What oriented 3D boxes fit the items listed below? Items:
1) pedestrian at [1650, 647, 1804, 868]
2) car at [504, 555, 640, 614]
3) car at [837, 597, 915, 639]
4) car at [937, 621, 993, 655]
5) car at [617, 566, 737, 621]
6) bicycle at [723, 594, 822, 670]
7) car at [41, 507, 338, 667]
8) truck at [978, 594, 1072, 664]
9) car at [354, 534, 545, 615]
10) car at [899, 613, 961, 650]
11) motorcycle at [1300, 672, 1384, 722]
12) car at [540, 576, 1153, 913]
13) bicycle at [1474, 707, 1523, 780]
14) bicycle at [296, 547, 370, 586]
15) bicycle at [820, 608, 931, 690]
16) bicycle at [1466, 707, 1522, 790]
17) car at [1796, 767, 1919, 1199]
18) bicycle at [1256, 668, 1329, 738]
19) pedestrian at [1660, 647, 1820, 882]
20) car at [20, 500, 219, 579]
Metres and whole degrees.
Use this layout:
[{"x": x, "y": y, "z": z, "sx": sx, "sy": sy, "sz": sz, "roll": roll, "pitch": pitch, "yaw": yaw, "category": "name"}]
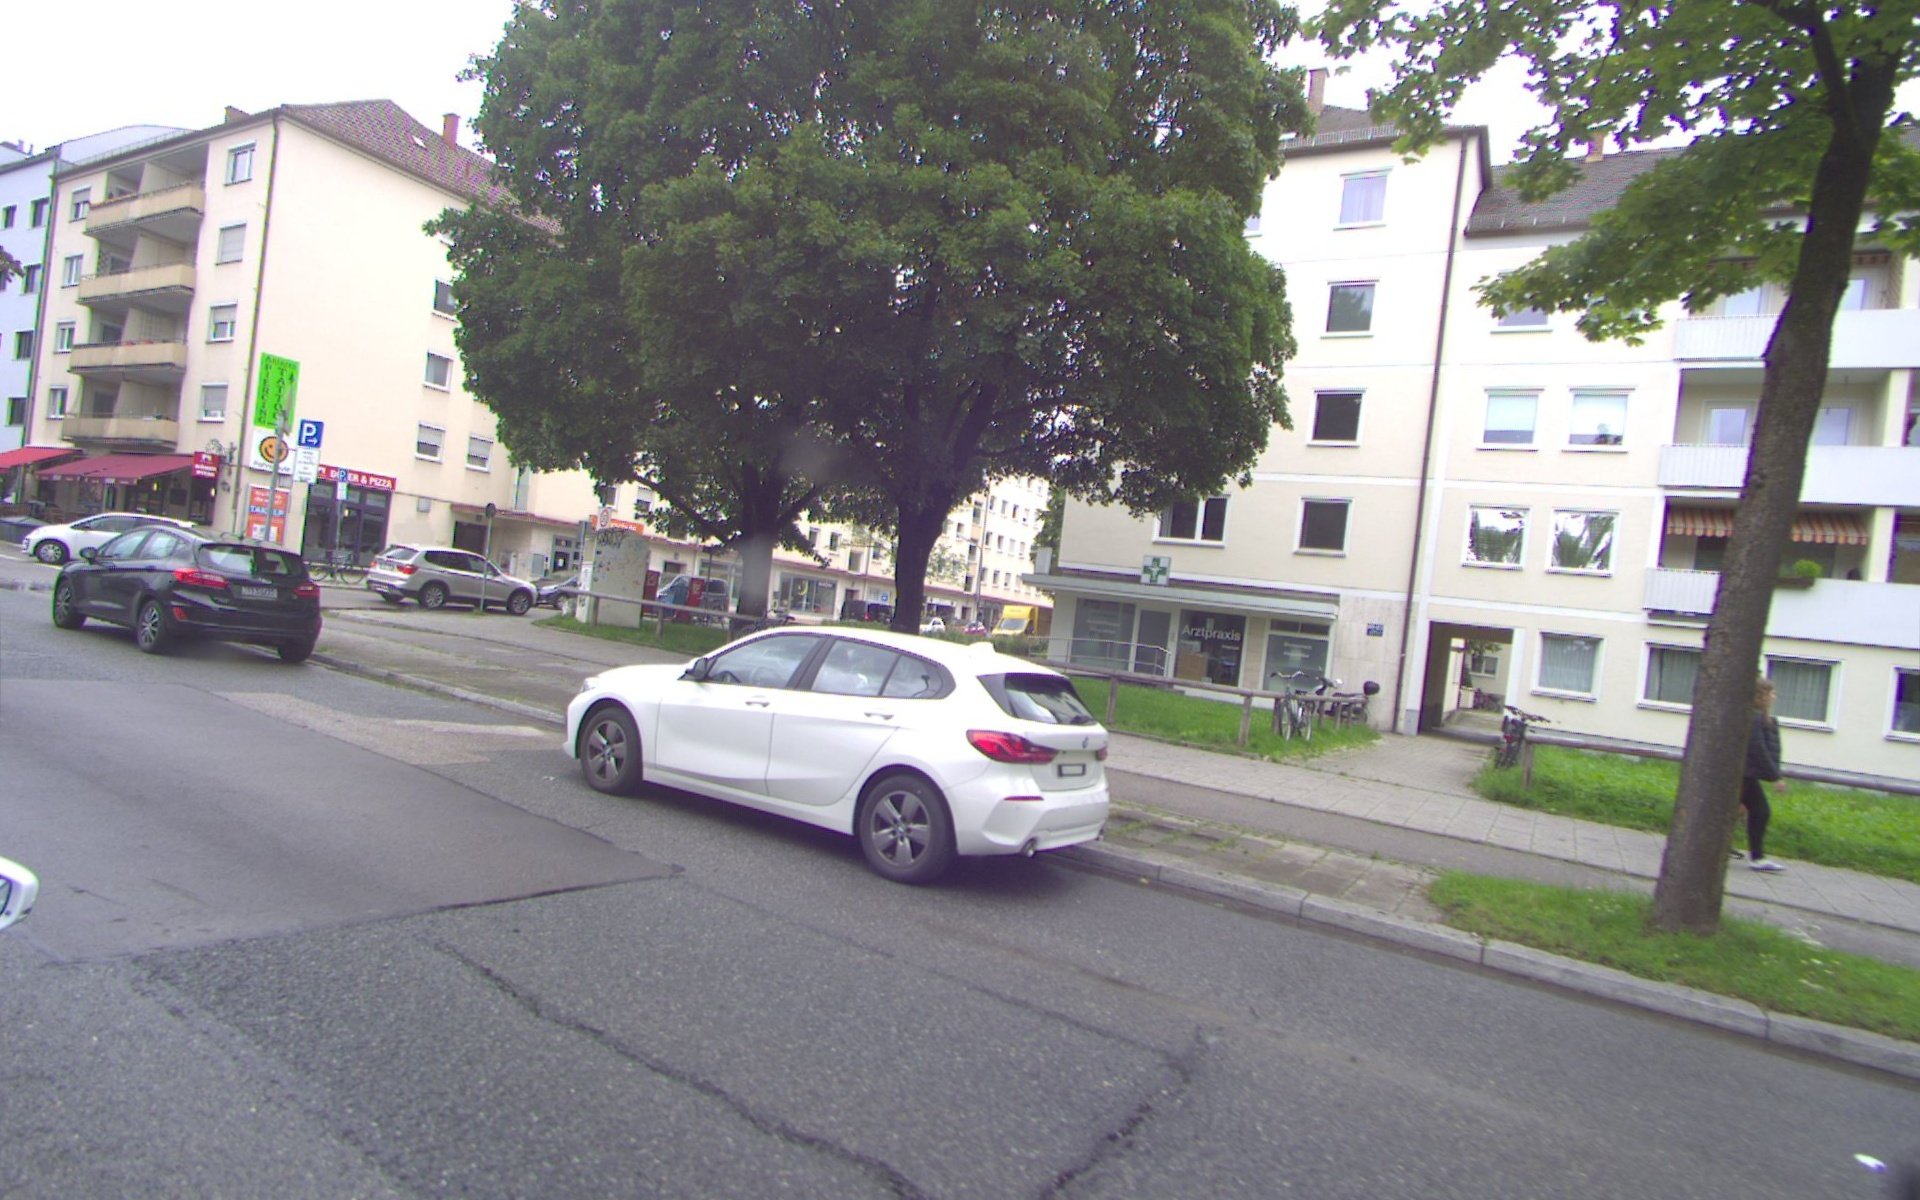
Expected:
[{"x": 7.319, "y": 1.464, "z": 9.661, "sx": 0.904, "sy": 1.913, "sz": 0.730, "roll": 7, "pitch": 1, "yaw": 30, "category": "pedestrian"}, {"x": -14.164, "y": -0.520, "z": 36.971, "sx": 1.839, "sy": 1.681, "sz": 4.401, "roll": 7, "pitch": 0, "yaw": 28, "category": "car"}, {"x": -4.542, "y": 1.010, "z": 55.243, "sx": 1.839, "sy": 1.679, "sz": 4.750, "roll": 7, "pitch": -2, "yaw": 27, "category": "car"}, {"x": 0.355, "y": 2.450, "z": 64.870, "sx": 1.839, "sy": 1.679, "sz": 4.088, "roll": 7, "pitch": -2, "yaw": 27, "category": "car"}, {"x": -11.702, "y": -0.233, "z": 41.898, "sx": 1.840, "sy": 1.795, "sz": 4.742, "roll": 7, "pitch": 0, "yaw": 30, "category": "car"}, {"x": -3.330, "y": 0.555, "z": 17.801, "sx": 1.823, "sy": 1.118, "sz": 0.389, "roll": 7, "pitch": -1, "yaw": 32, "category": "bicycle"}, {"x": -9.649, "y": -0.184, "z": 12.553, "sx": 3.613, "sy": 1.482, "sz": 1.621, "roll": 7, "pitch": -2, "yaw": 31, "category": "car"}, {"x": 3.875, "y": 1.749, "z": 57.696, "sx": 2.318, "sy": 3.282, "sz": 7.425, "roll": 7, "pitch": -2, "yaw": 27, "category": "truck"}, {"x": -14.132, "y": -0.658, "z": 28.123, "sx": 1.839, "sy": 1.681, "sz": 4.402, "roll": 9, "pitch": 1, "yaw": 27, "category": "car"}, {"x": -1.763, "y": 1.936, "z": 60.624, "sx": 1.839, "sy": 1.679, "sz": 4.088, "roll": 7, "pitch": -2, "yaw": 27, "category": "car"}, {"x": 9.982, "y": 2.537, "z": 26.335, "sx": 1.875, "sy": 1.035, "sz": 0.605, "roll": 7, "pitch": -1, "yaw": 32, "category": "motorcycle"}, {"x": -0.913, "y": 0.866, "z": 7.276, "sx": 4.068, "sy": 1.481, "sz": 1.687, "roll": 7, "pitch": -3, "yaw": 31, "category": "car"}, {"x": 8.228, "y": 2.164, "z": 15.348, "sx": 0.426, "sy": 0.985, "sz": 1.880, "roll": 7, "pitch": -2, "yaw": 33, "category": "bicycle"}, {"x": -19.740, "y": -1.040, "z": 31.710, "sx": 0.548, "sy": 0.968, "sz": 1.851, "roll": 7, "pitch": -2, "yaw": 30, "category": "bicycle"}, {"x": -1.407, "y": 0.794, "z": 16.620, "sx": 1.853, "sy": 1.116, "sz": 0.382, "roll": 7, "pitch": -1, "yaw": 32, "category": "bicycle"}, {"x": 7.238, "y": 1.980, "z": 13.605, "sx": 0.426, "sy": 0.985, "sz": 1.880, "roll": 7, "pitch": -2, "yaw": 33, "category": "bicycle"}, {"x": 3.551, "y": 1.263, "z": 0.613, "sx": 4.388, "sy": 1.429, "sz": 1.762, "roll": 7, "pitch": -2, "yaw": 32, "category": "car"}, {"x": 5.186, "y": 1.604, "z": 15.617, "sx": 0.549, "sy": 0.950, "sz": 1.880, "roll": 7, "pitch": -2, "yaw": 33, "category": "bicycle"}, {"x": 6.981, "y": 1.436, "z": 9.055, "sx": 0.887, "sy": 1.913, "sz": 0.588, "roll": 7, "pitch": 1, "yaw": 30, "category": "pedestrian"}, {"x": -21.017, "y": -1.499, "z": 25.364, "sx": 3.525, "sy": 1.434, "sz": 1.855, "roll": 8, "pitch": 0, "yaw": -33, "category": "car"}]
